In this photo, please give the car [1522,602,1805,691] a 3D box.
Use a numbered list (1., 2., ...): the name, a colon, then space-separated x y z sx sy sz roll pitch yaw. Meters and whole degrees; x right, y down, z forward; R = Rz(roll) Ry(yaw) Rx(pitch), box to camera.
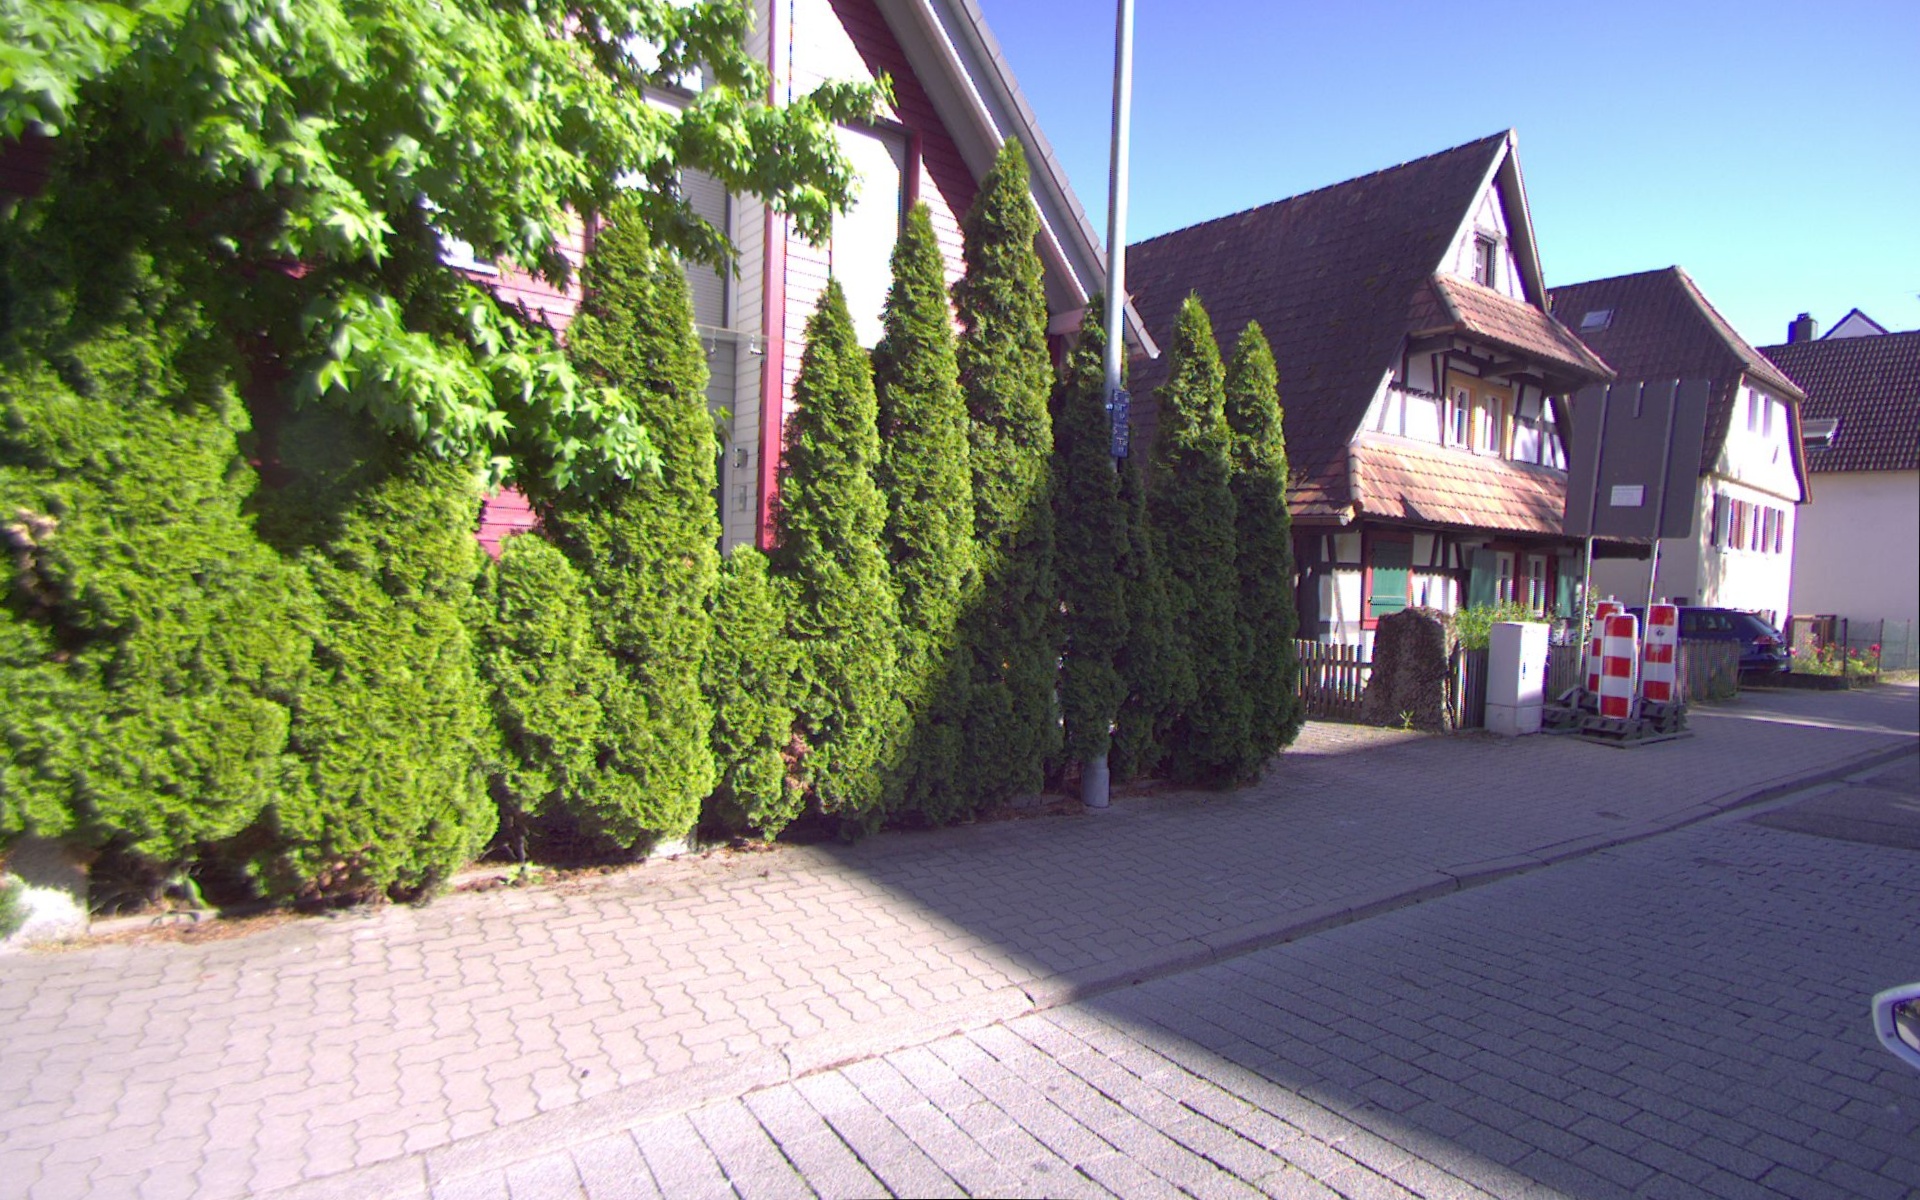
1. car: 13.323 0.793 19.224 1.833 1.481 4.123 0 0 -40
